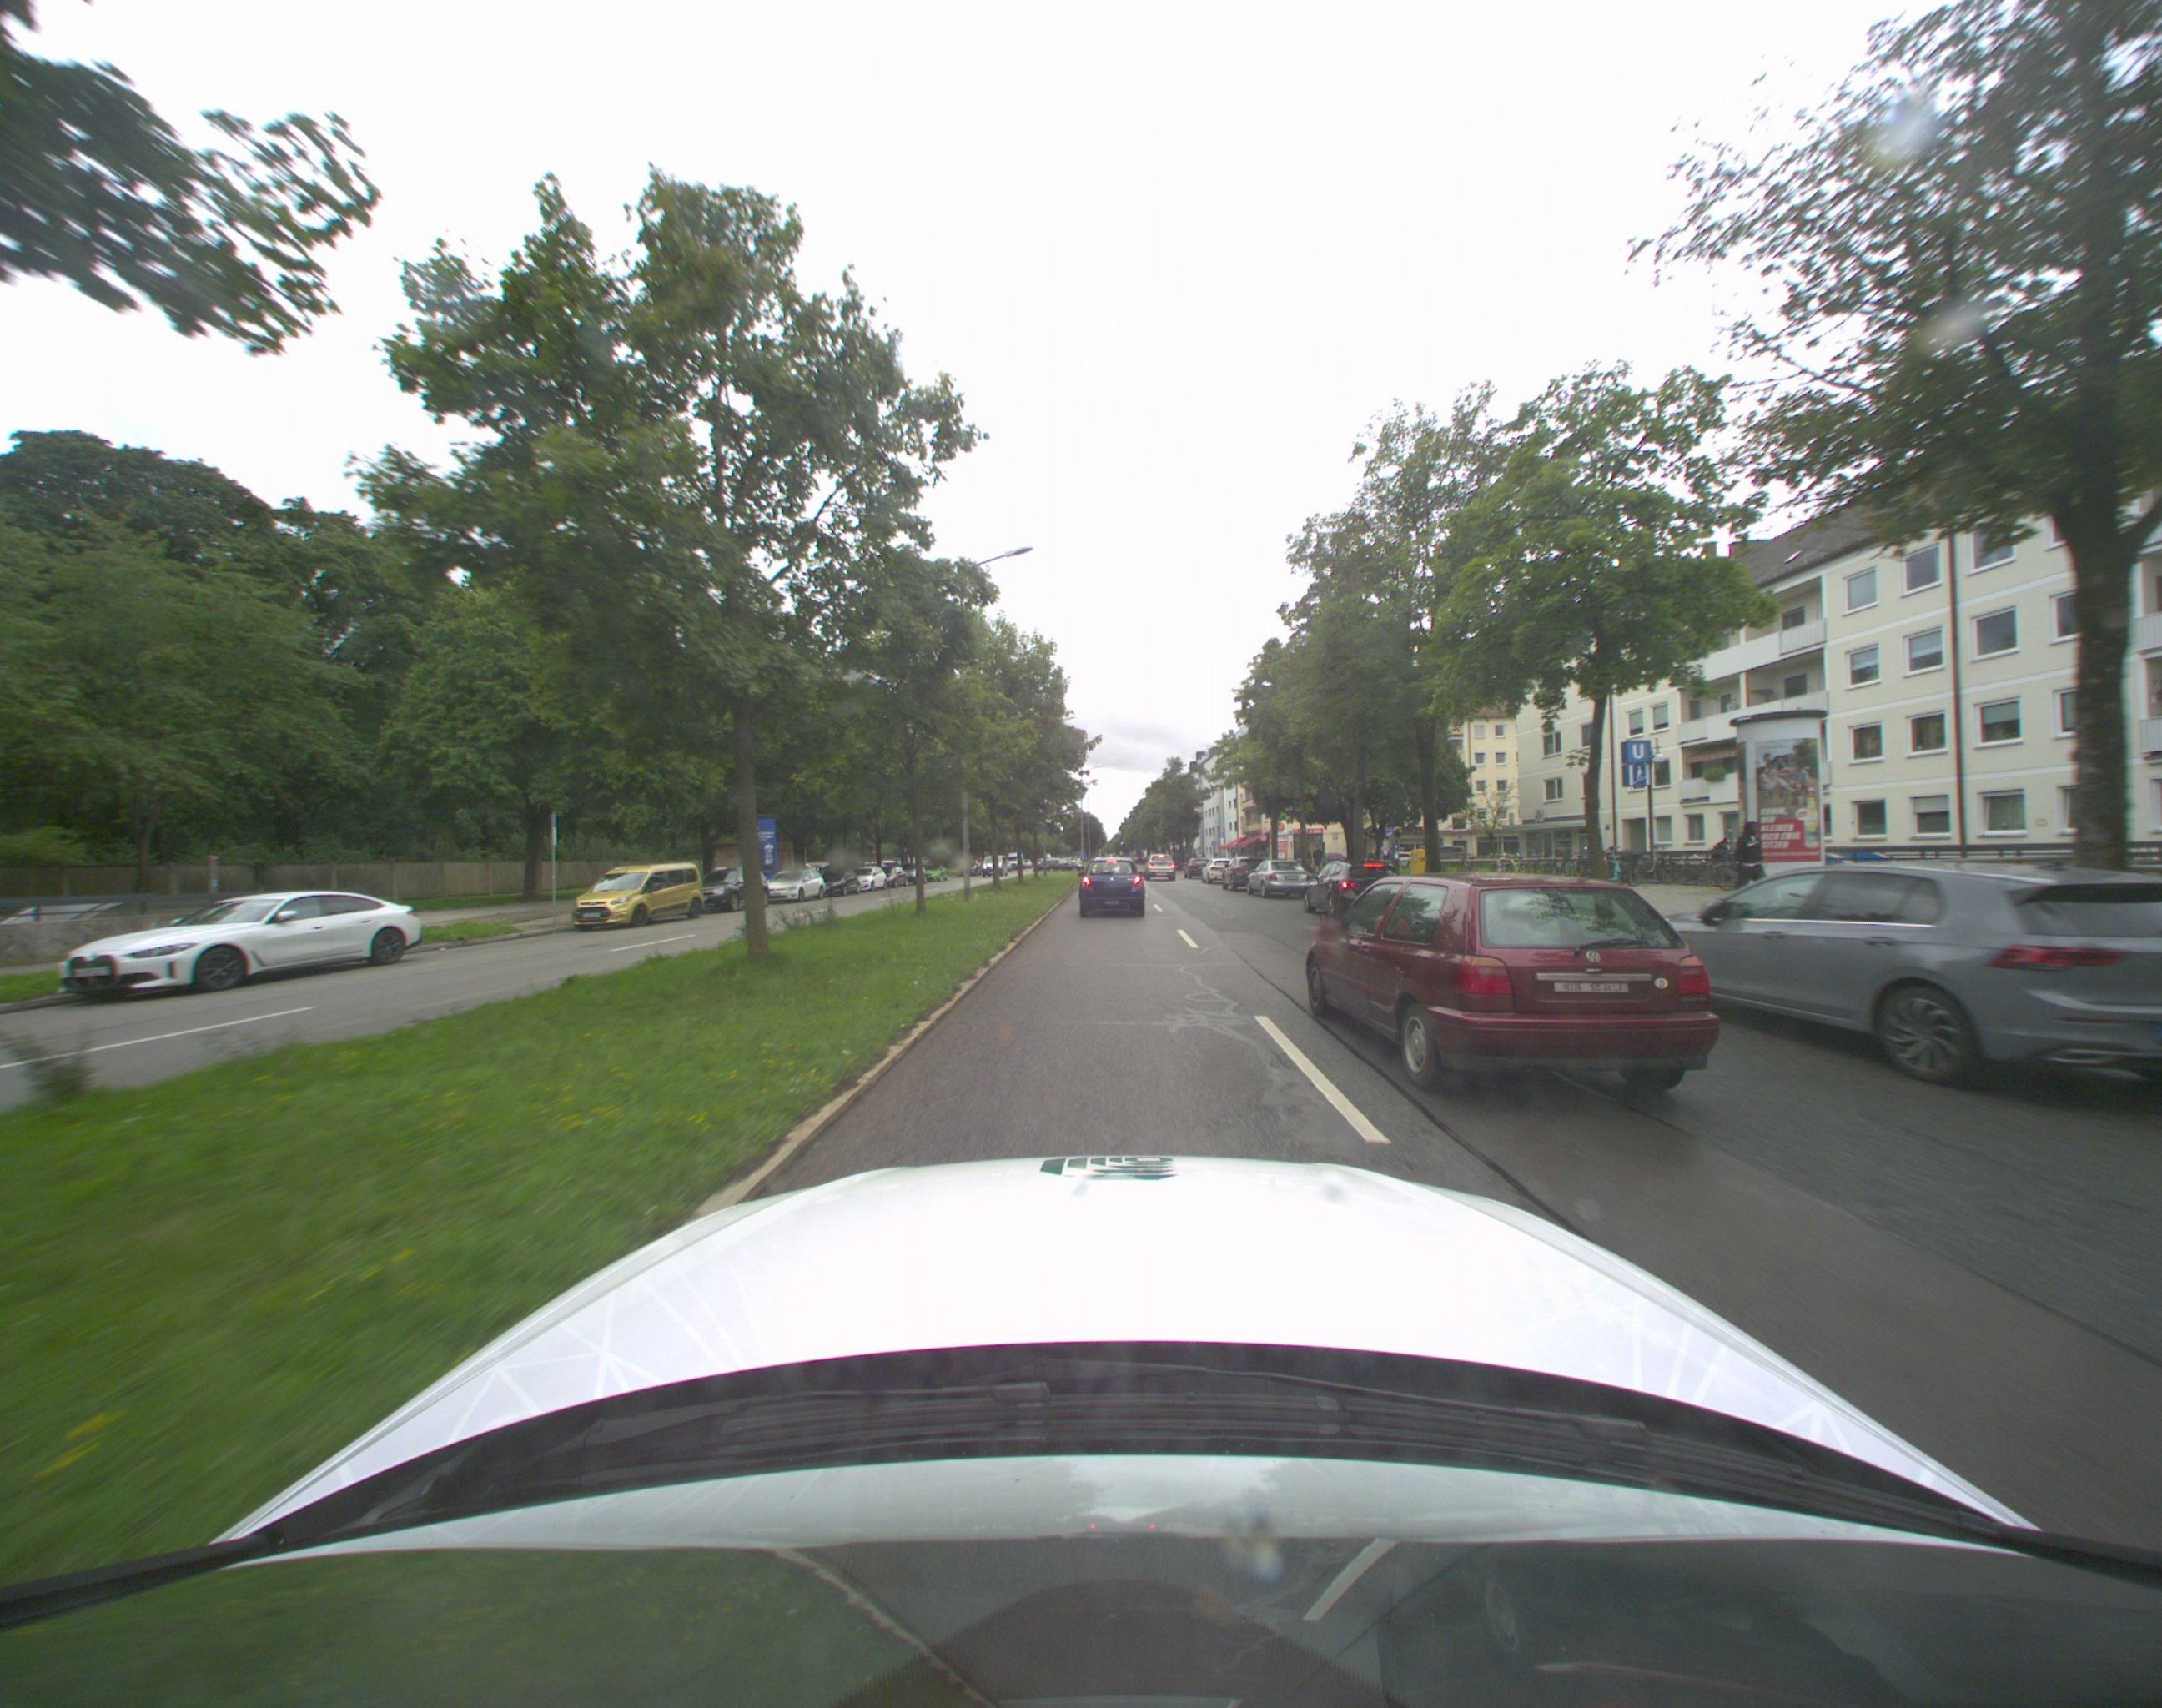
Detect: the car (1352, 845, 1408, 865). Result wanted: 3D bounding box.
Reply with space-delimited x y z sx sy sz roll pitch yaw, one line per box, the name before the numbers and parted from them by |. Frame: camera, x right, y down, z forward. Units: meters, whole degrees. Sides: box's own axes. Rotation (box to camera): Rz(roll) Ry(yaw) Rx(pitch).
car | 27.146 0.095 73.946 4.380 1.661 1.871 -2 0 -1

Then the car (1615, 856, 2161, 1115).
car | 6.481 0.752 6.691 1.675 1.465 4.118 0 0 3

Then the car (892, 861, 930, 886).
car | -12.359 1.375 59.342 1.685 1.586 4.372 -3 0 1

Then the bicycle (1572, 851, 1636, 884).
bicycle | 17.507 0.455 27.280 1.872 1.028 0.432 -2 -1 -2

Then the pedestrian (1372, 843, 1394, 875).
pedestrian | 16.270 0.271 43.938 0.835 1.681 0.835 -2 -1 1

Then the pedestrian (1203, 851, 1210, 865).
pedestrian | 17.426 0.568 113.456 0.791 2.013 1.007 -1 0 2

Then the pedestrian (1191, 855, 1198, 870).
pedestrian | 15.796 1.158 113.033 0.791 2.013 1.007 -1 0 2

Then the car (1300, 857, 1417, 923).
car | 6.835 0.819 20.504 1.743 1.465 4.179 0 0 3

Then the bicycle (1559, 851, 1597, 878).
bicycle | 20.091 0.406 32.954 0.429 1.028 1.885 -2 0 3

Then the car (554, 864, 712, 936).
car | -13.334 1.291 24.651 1.807 1.783 4.821 -3 0 3

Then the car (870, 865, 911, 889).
car | -12.513 1.483 53.729 1.584 1.397 3.634 -3 0 4

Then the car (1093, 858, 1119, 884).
car | 1.439 0.973 47.778 1.439 1.483 3.107 -1 0 1

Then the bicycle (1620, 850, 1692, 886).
bicycle | 17.544 0.431 24.858 1.872 1.028 0.432 -2 -1 -2

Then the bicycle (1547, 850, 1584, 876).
bicycle | 19.605 0.356 33.008 0.429 1.028 1.885 -2 0 3

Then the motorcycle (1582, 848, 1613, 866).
motorcycle | 29.853 0.176 47.095 0.601 1.023 1.908 0 0 3

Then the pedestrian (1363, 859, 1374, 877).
pedestrian | 15.603 0.771 44.175 0.406 0.949 0.435 -2 -1 1

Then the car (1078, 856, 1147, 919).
car | 0.818 0.828 22.063 1.676 1.502 3.919 -1 0 1

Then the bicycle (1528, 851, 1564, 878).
bicycle | 18.844 0.403 33.063 0.429 1.028 1.885 -2 0 3

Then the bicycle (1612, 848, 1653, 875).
bicycle | 22.214 0.291 32.831 0.429 1.028 1.885 -2 0 3

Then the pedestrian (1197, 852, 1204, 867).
pedestrian | 16.601 0.732 112.945 0.791 2.013 1.007 -1 0 2

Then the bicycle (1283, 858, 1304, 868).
bicycle | 19.849 0.815 76.134 1.841 0.957 0.557 0 -1 0

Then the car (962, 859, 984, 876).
car | -11.260 1.368 84.932 1.710 1.741 3.880 0 0 1

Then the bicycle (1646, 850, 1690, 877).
bicycle | 23.348 0.351 32.415 0.429 1.028 1.885 -2 0 3

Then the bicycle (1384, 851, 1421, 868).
bicycle | 18.124 0.308 45.918 1.869 0.940 0.558 0 -1 3

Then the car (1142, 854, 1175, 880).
car | 4.996 0.809 52.984 1.859 1.661 4.408 0 0 1

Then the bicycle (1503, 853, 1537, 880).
bicycle | 17.817 0.487 33.070 0.429 1.028 1.885 -2 0 3

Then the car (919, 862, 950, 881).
car | -12.082 1.442 67.518 1.540 1.409 3.884 -3 0 4

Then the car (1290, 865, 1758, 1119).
car | 2.980 0.797 6.518 1.676 1.384 3.919 0 0 1

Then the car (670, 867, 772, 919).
car | -13.345 1.408 30.483 1.730 1.646 4.257 -3 0 1

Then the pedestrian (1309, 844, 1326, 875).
pedestrian | 14.425 0.328 49.731 0.727 1.890 0.919 -2 -1 1

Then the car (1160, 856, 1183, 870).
car | 9.728 0.964 88.049 1.860 1.417 4.222 -2 0 -1

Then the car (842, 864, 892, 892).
car | -12.684 1.412 48.494 1.601 1.444 4.281 -3 0 2

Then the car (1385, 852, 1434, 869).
car | 28.761 0.559 71.266 3.534 1.417 1.873 -2 0 2

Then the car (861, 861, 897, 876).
car | -24.139 1.761 97.434 3.910 1.718 1.670 0 -1 -4

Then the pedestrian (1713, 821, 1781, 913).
pedestrian | 13.160 0.244 16.117 0.635 1.749 0.852 -3 0 11

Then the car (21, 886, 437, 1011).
car | -13.968 1.430 13.947 1.850 1.472 4.876 -3 0 1

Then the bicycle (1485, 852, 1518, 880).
bicycle | 17.122 0.482 33.182 0.429 1.101 1.885 -2 0 3

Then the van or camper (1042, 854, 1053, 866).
van or camper | -9.085 1.695 223.258 2.552 3.296 6.939 0 0 1

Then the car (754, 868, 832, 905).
car | -13.085 1.430 37.298 1.756 1.449 4.534 -3 0 1

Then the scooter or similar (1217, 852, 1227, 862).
scooter or similar | 18.935 0.410 109.462 1.028 1.307 2.757 -1 0 3

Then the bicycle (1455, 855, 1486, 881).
bicycle | 15.971 0.565 33.449 0.429 1.028 1.885 -2 0 3

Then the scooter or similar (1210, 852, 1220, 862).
scooter or similar | 18.881 0.425 114.499 1.028 1.307 2.757 -1 0 3

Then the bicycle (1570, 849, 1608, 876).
bicycle | 20.582 0.326 33.027 0.429 1.028 1.885 -2 0 3

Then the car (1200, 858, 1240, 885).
car | 7.946 0.965 46.940 1.676 1.465 4.138 1 0 1

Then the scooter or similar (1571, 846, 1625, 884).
scooter or similar | 16.792 0.358 26.477 0.360 1.200 1.374 -2 -1 -40

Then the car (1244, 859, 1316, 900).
car | 7.462 0.915 30.873 1.631 1.386 4.242 0 0 -1

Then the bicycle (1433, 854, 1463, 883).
bicycle | 15.031 0.563 33.373 0.429 1.133 1.885 -2 0 3

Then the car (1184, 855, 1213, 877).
car | 8.264 0.822 57.550 1.611 1.465 3.675 0 0 2

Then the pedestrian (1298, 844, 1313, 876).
pedestrian | 13.722 0.374 49.753 0.586 1.890 0.902 -2 -1 1

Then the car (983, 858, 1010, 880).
car | -7.897 1.372 76.380 1.793 1.934 4.995 -3 0 1

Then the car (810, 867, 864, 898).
car | -12.677 1.454 42.563 1.608 1.417 3.897 -3 0 0

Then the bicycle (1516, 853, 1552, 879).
bicycle | 18.363 0.466 33.043 0.429 1.028 1.885 -2 0 3

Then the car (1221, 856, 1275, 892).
car | 7.501 0.863 36.835 1.710 1.533 4.277 0 0 2

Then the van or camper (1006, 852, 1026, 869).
van or camper | -10.011 1.013 126.470 2.108 2.482 7.454 -1 0 3

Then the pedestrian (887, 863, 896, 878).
pedestrian | -19.070 1.658 82.051 0.724 1.534 0.721 0 -1 2

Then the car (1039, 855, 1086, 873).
car | -1.703 0.884 73.647 4.114 1.468 1.837 -1 0 -4

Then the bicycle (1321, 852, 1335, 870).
bicycle | 15.859 0.457 52.305 0.380 1.103 1.885 0 0 3

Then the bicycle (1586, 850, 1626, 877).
bicycle | 21.303 0.373 33.070 0.429 1.028 1.885 -2 0 3
